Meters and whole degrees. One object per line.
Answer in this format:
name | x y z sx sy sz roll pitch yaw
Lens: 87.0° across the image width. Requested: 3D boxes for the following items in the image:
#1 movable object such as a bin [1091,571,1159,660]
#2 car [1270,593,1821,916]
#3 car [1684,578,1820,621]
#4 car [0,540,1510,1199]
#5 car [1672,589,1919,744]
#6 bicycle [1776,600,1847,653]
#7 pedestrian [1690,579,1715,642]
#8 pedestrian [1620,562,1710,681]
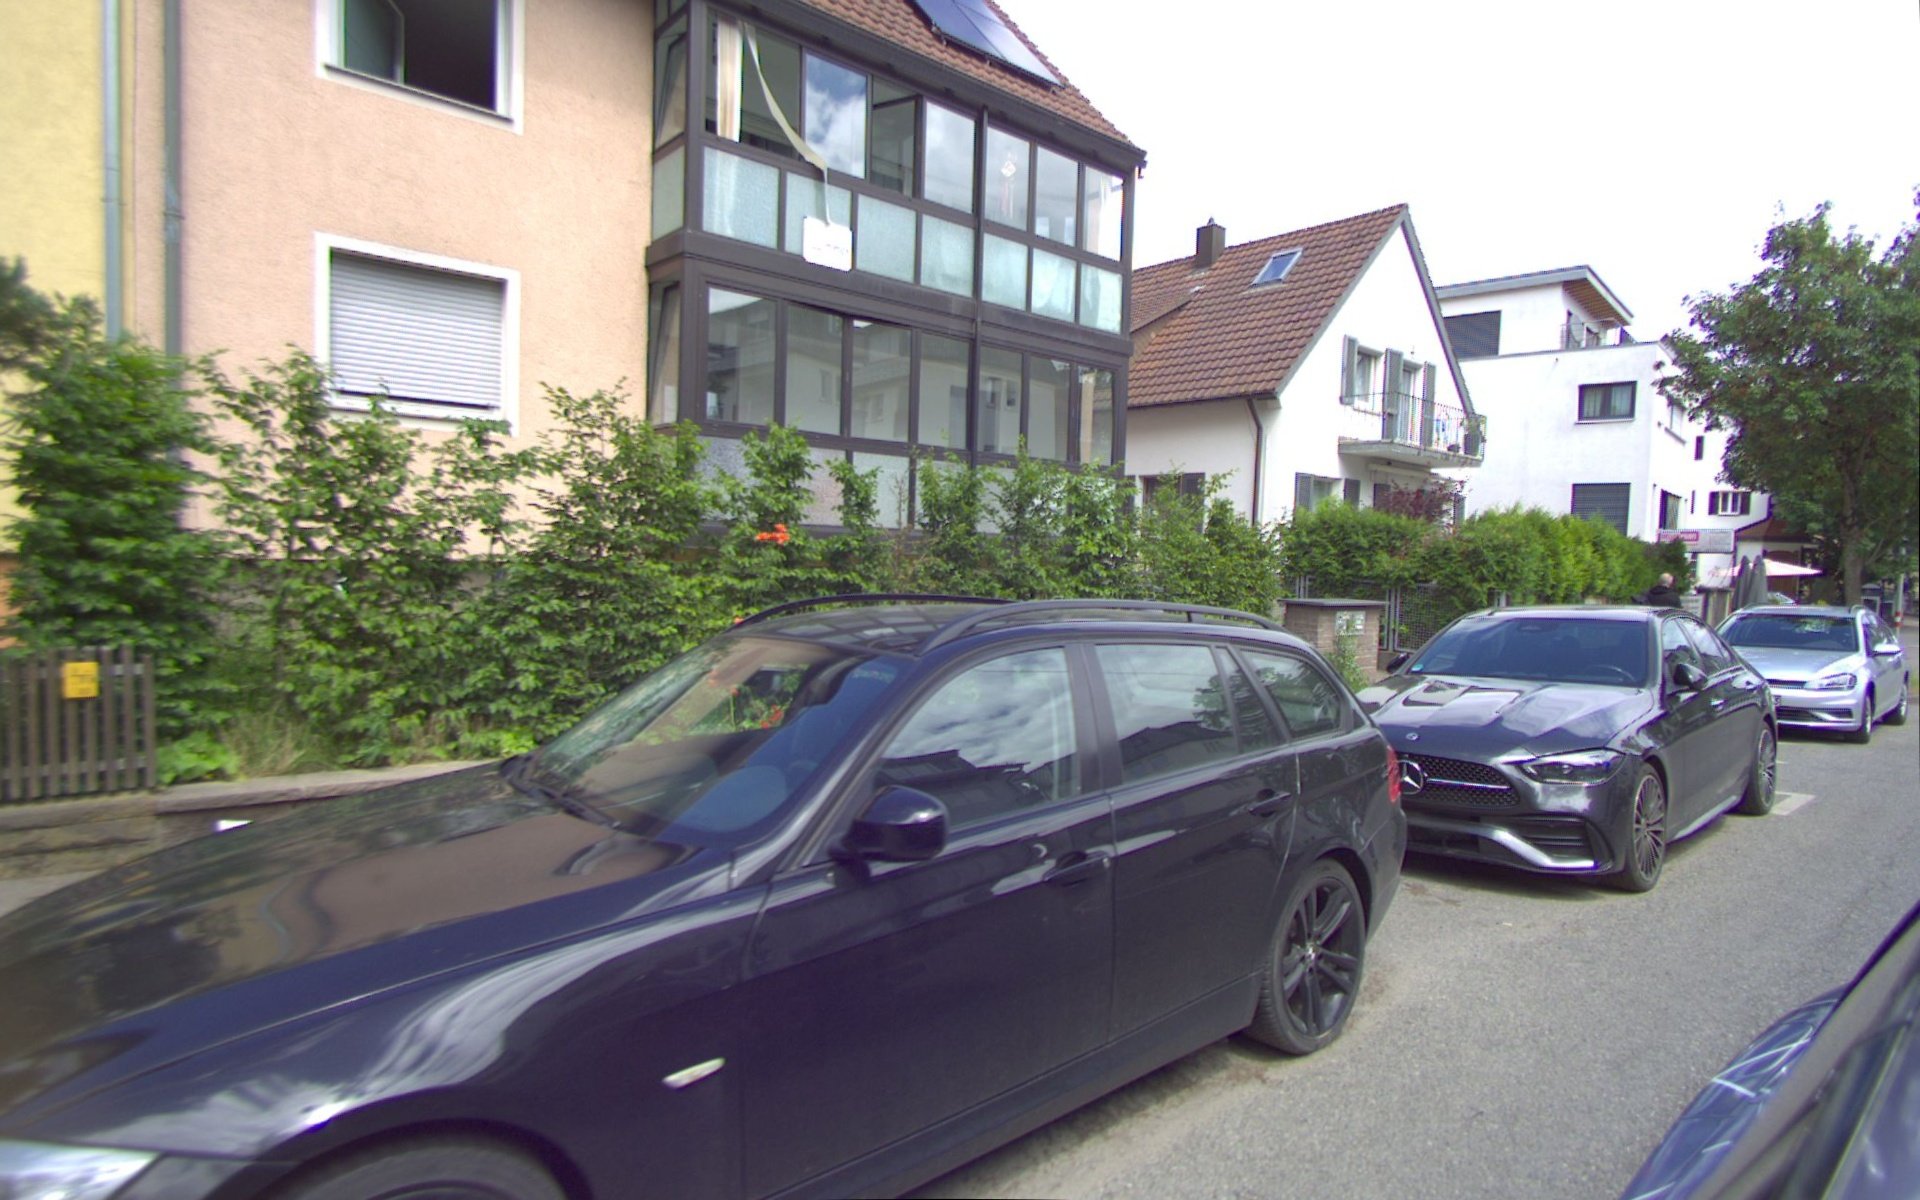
movable object such as a bin | 2.279 0.201 13.959 0.713 1.172 0.551 0 3 -36
car | 4.180 0.700 6.797 4.796 1.447 1.737 0 0 -41
car | 32.196 -0.045 41.304 4.157 1.433 1.758 5 3 34
car | -0.332 0.635 3.149 4.506 1.440 1.999 0 3 -39
car | 10.396 0.662 12.294 4.786 1.499 1.704 0 2 -41
bicycle | 20.349 0.607 24.166 2.171 1.164 0.723 0 3 -35
pedestrian | 21.528 0.283 29.336 0.425 1.783 0.669 3 3 28
pedestrian | 10.826 0.305 15.551 0.827 1.733 0.883 0 3 -39
